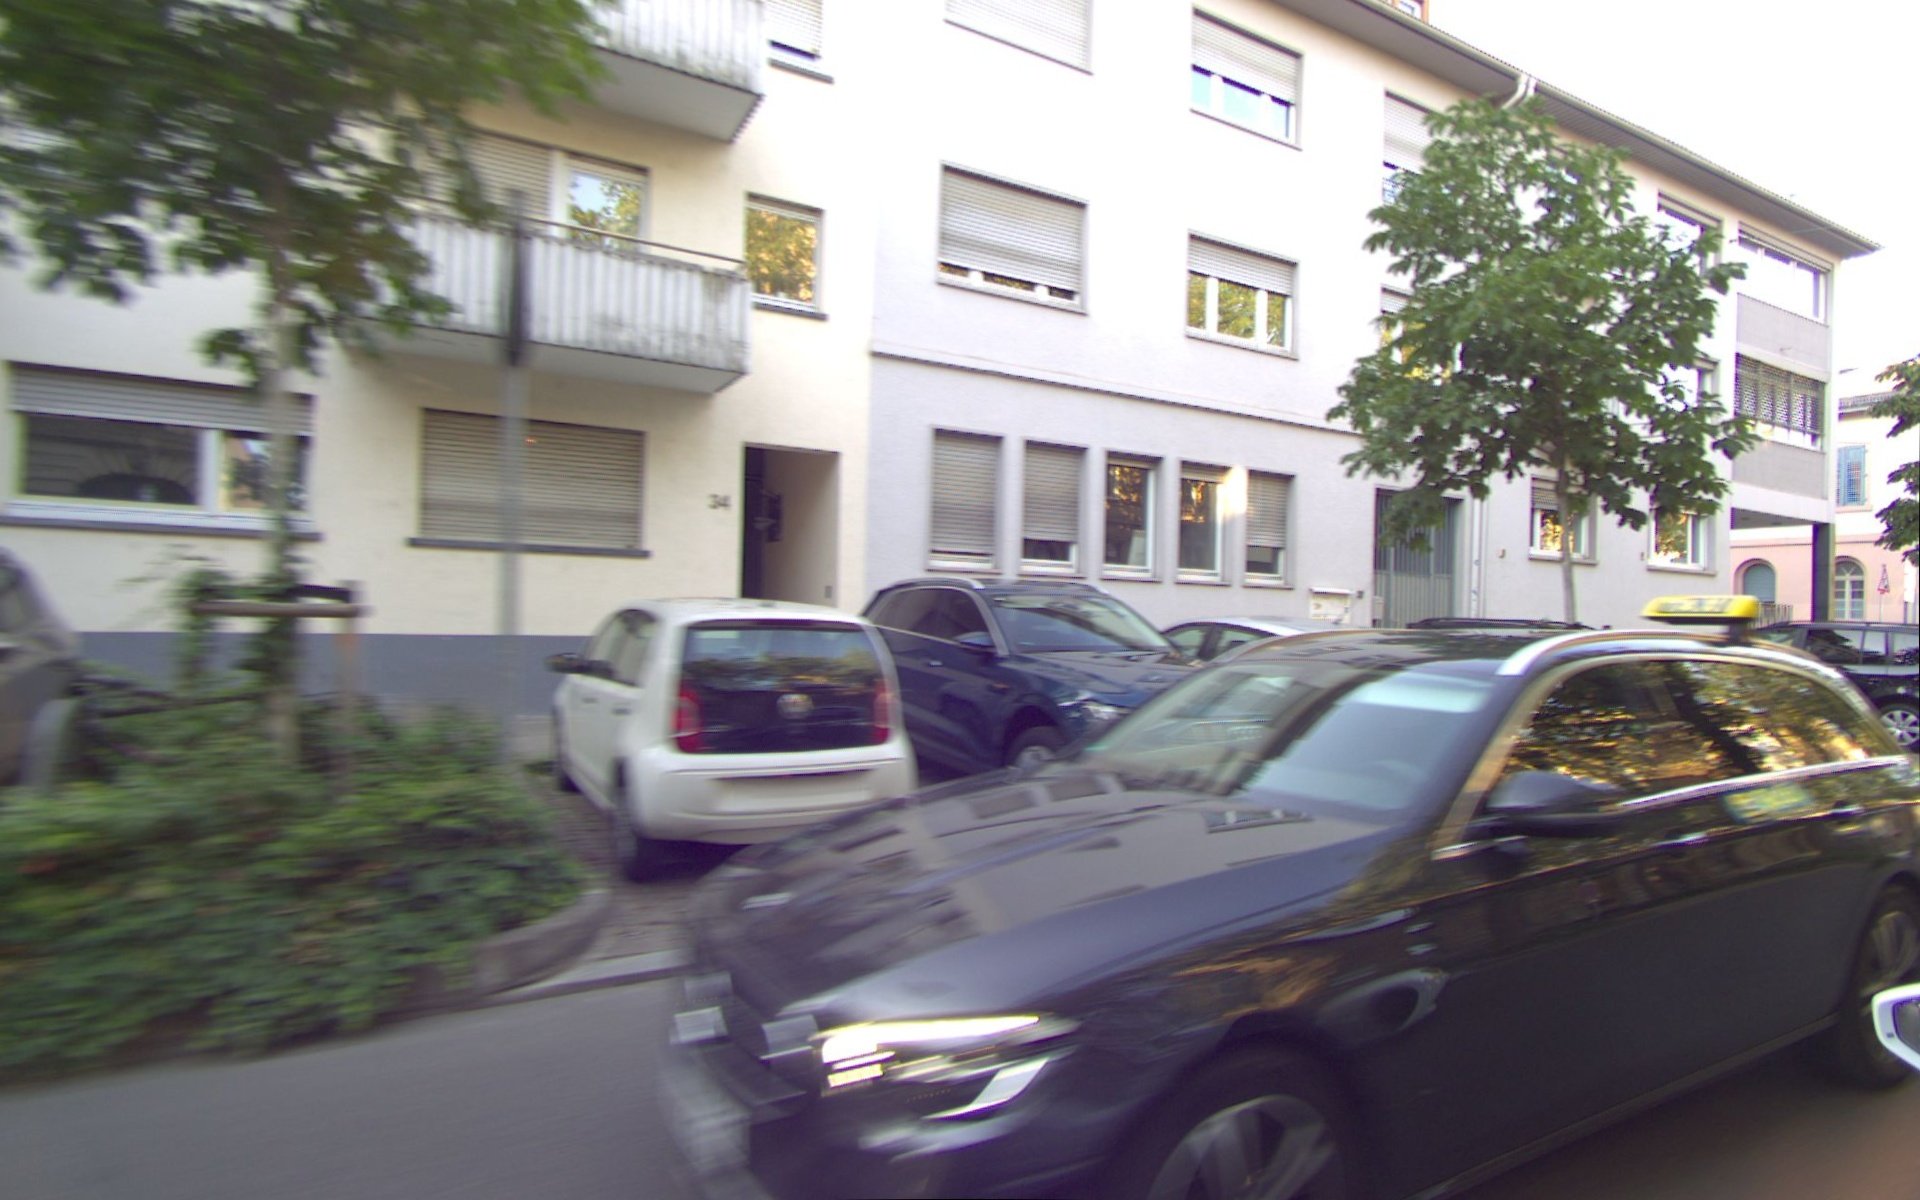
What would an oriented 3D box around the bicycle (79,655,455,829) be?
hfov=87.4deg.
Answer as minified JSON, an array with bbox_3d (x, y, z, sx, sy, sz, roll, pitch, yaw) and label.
[{"bbox_3d":[-4.134,0.803,6.174,1.793,0.885,0.742,2,0,-31],"label":"bicycle"}]

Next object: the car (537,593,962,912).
[{"bbox_3d":[-1.704,0.717,6.872,1.832,1.470,3.828,0,1,-29],"label":"car"}]

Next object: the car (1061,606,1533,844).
[{"bbox_3d":[2.728,0.905,9.145,1.756,1.514,4.016,2,1,-25],"label":"car"}]

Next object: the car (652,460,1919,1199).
[{"bbox_3d":[1.524,0.713,3.383,4.592,1.662,1.868,2,-2,-31],"label":"car"}]

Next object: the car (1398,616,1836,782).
[{"bbox_3d":[7.577,1.022,12.051,1.733,1.459,4.059,2,1,-27],"label":"car"}]

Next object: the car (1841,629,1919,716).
[{"bbox_3d":[17.951,1.346,17.366,1.714,1.478,3.724,2,1,-30],"label":"car"}]

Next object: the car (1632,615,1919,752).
[{"bbox_3d":[12.388,1.112,14.473,1.911,1.653,4.077,2,0,-28],"label":"car"}]

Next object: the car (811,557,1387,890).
[{"bbox_3d":[0.671,0.656,7.958,2.131,1.789,4.644,2,0,-29],"label":"car"}]

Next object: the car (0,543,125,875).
[{"bbox_3d":[-5.554,0.514,4.632,1.801,1.612,4.136,2,2,-29],"label":"car"}]
